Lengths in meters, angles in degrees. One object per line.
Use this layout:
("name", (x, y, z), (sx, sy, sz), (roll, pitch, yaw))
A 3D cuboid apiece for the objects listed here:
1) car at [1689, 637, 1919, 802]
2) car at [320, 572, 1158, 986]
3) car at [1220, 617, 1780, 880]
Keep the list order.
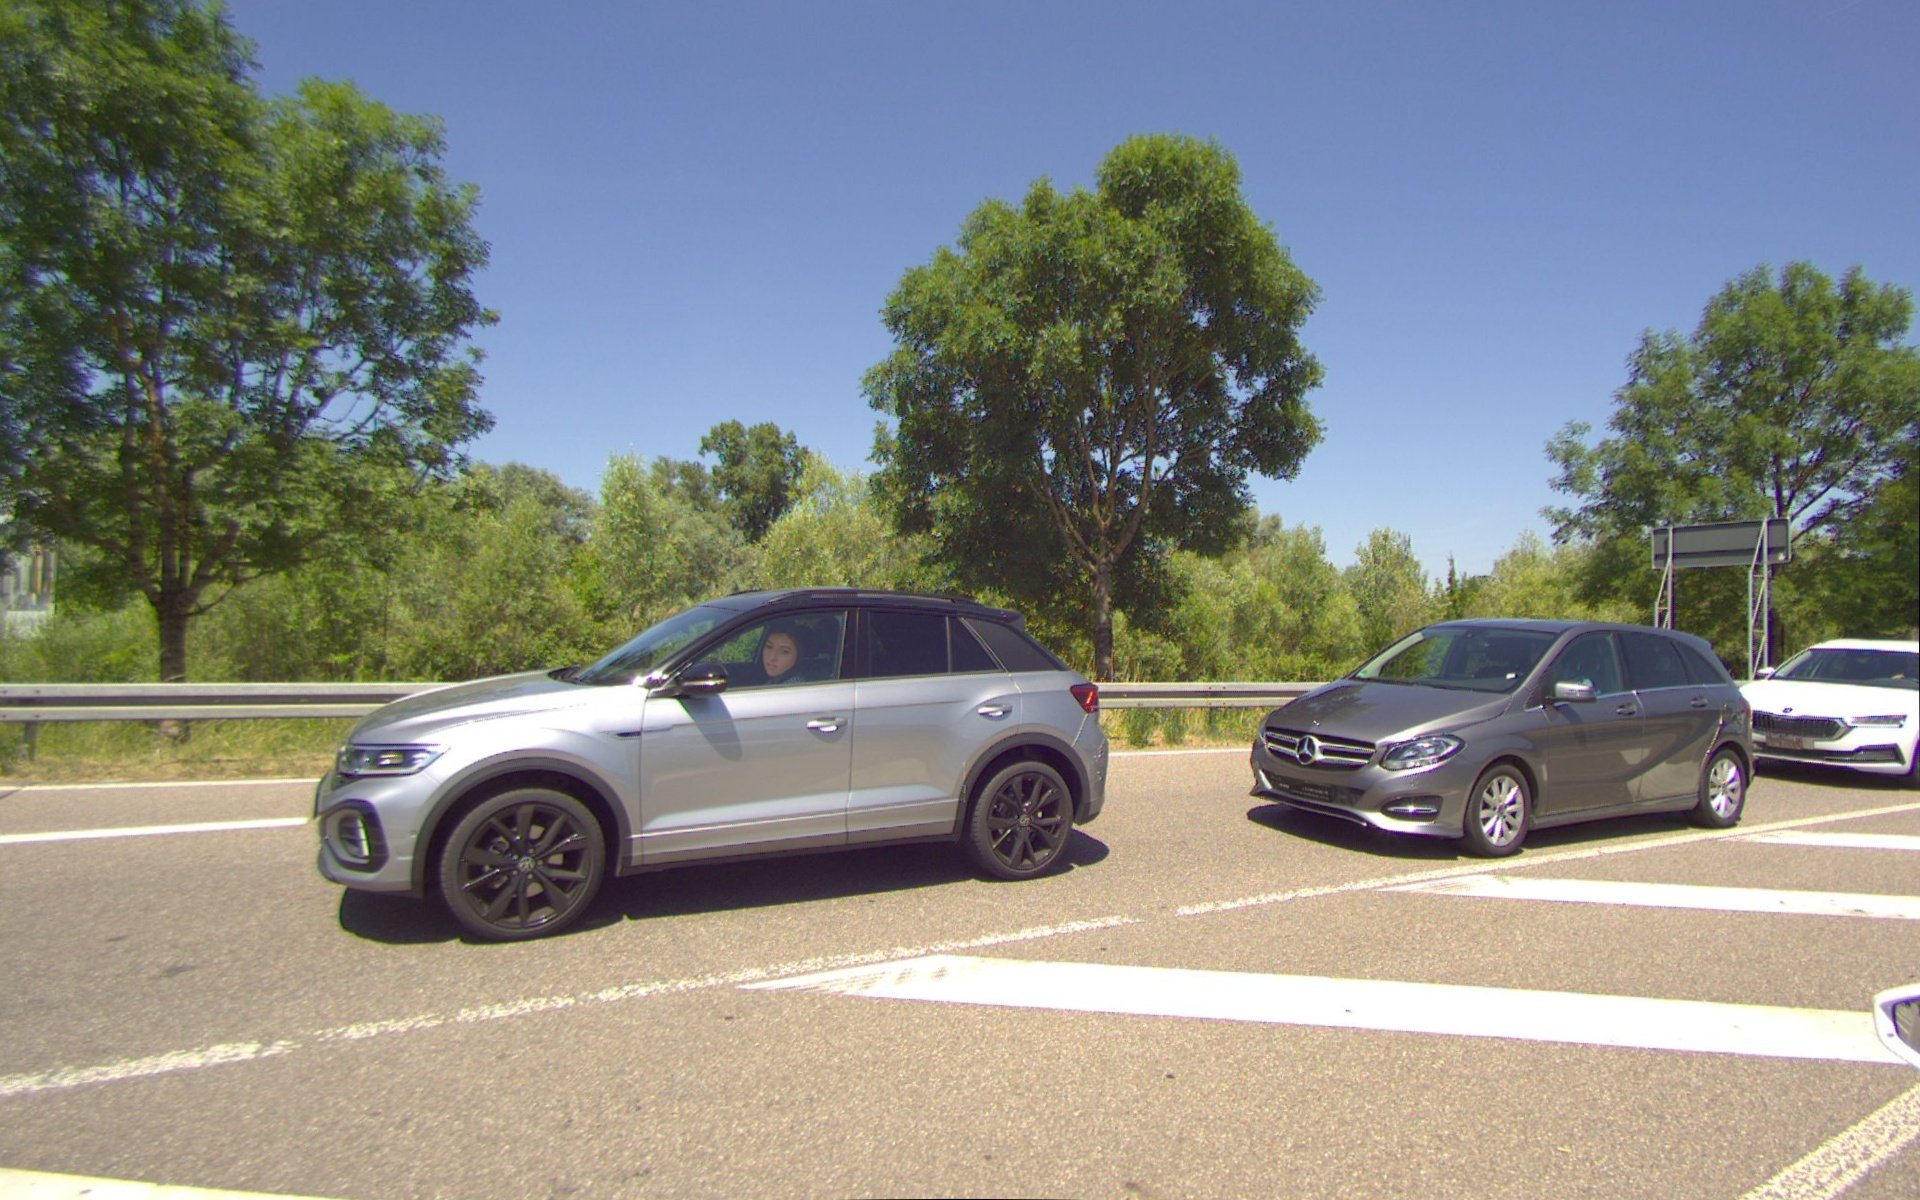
("car", (10.344, 1.220, 11.264), (4.572, 1.498, 1.647), (2, -1, -28))
("car", (-1.047, 0.753, 5.611), (4.105, 1.582, 1.704), (2, -1, -29))
("car", (4.203, 0.956, 7.672), (4.328, 1.558, 1.618), (2, -2, -27))
